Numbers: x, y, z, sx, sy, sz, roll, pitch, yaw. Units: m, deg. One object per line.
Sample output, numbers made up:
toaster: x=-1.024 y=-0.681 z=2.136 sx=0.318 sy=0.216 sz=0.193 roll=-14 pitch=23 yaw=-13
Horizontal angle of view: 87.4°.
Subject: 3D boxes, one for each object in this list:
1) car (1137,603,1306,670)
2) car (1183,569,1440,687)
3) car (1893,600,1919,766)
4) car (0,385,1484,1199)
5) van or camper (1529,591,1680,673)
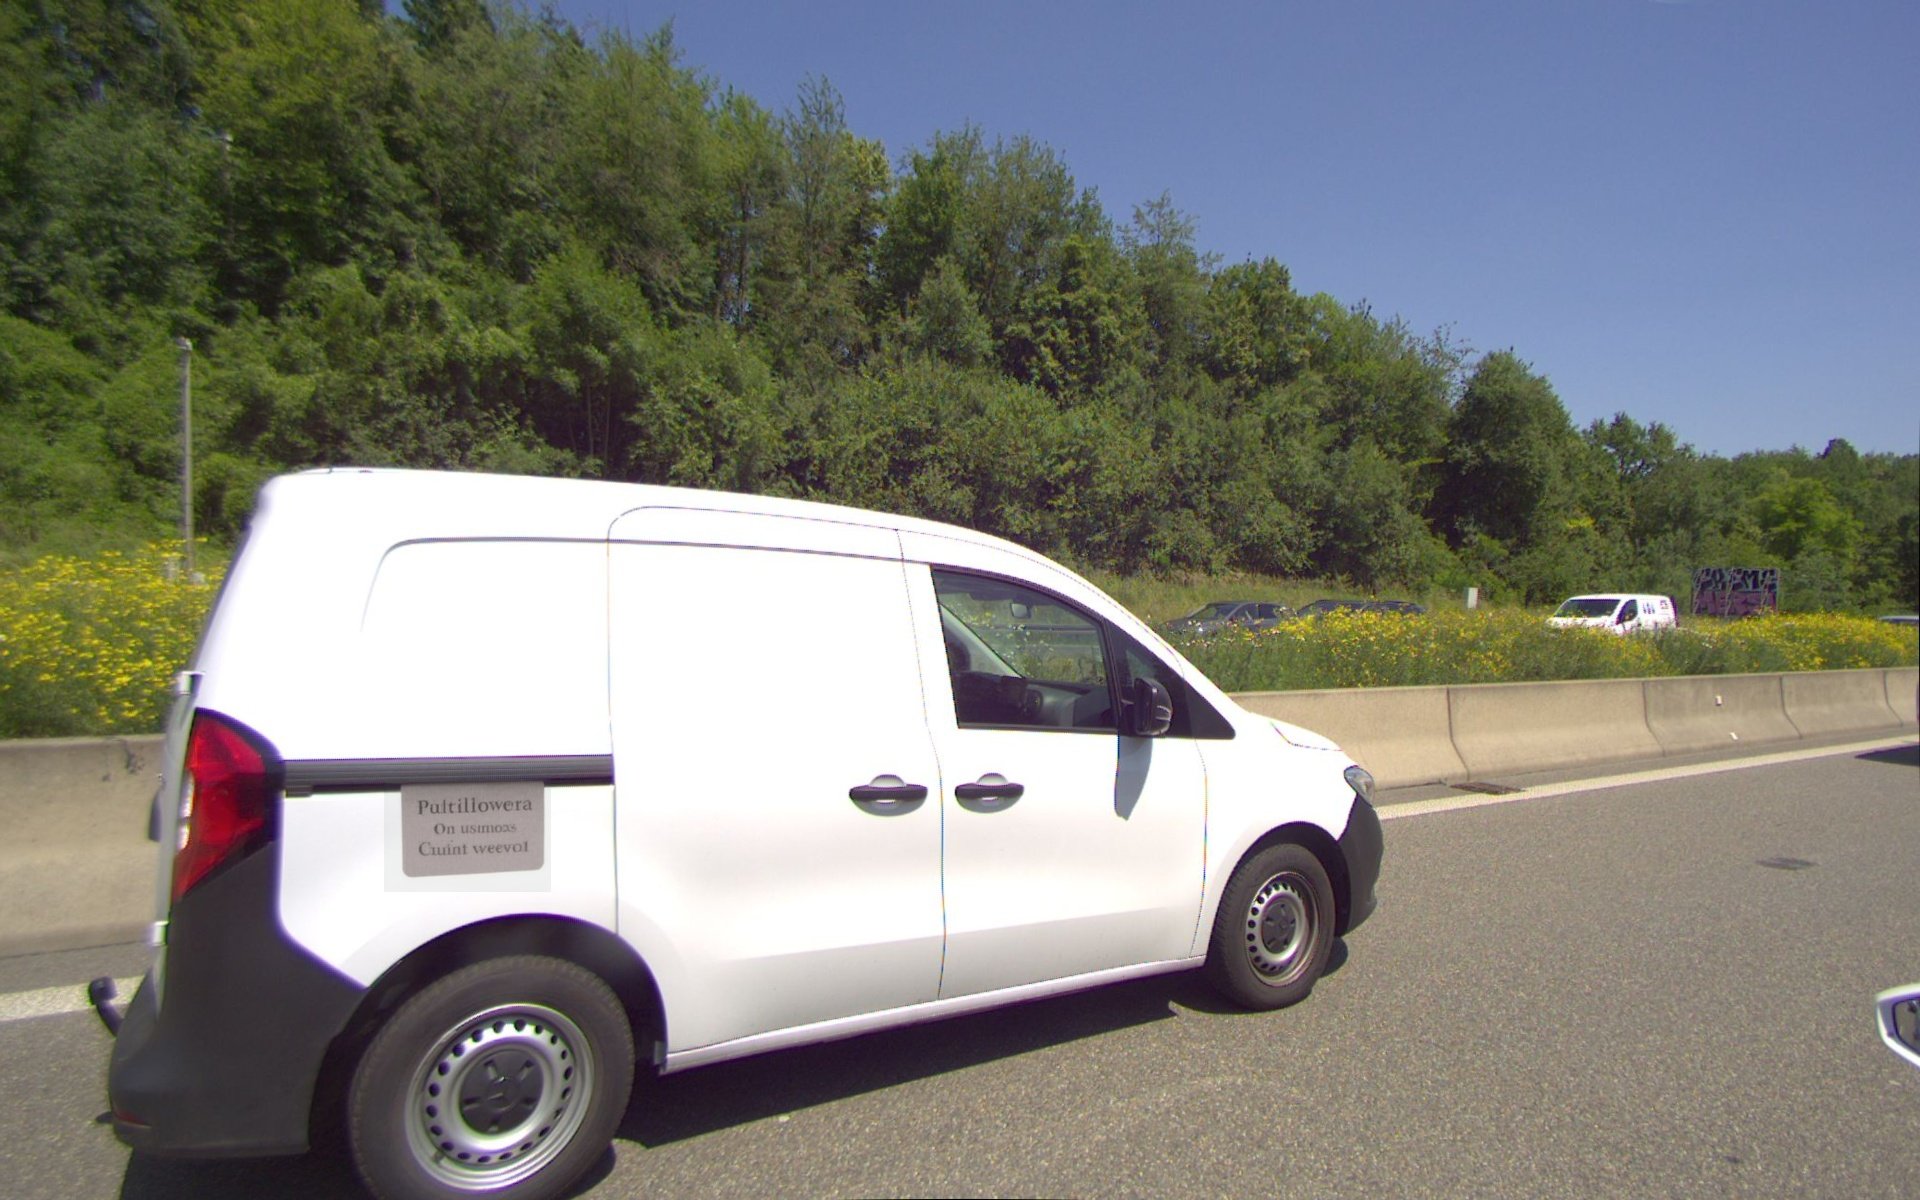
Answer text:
car: x=6.513 y=0.915 z=24.936 sx=3.954 sy=1.511 sz=1.767 roll=3 pitch=-1 yaw=-31
car: x=5.705 y=0.477 z=16.188 sx=4.034 sy=1.686 sz=1.698 roll=3 pitch=-1 yaw=-31
car: x=12.384 y=0.921 z=11.035 sx=4.899 sy=1.717 sz=1.854 roll=2 pitch=0 yaw=-31
car: x=-0.221 y=0.574 z=3.809 sx=4.620 sy=1.837 sz=1.756 roll=2 pitch=0 yaw=-31
van or camper: x=17.192 y=0.849 z=26.747 sx=4.164 sy=2.039 sz=1.684 roll=2 pitch=0 yaw=-31
